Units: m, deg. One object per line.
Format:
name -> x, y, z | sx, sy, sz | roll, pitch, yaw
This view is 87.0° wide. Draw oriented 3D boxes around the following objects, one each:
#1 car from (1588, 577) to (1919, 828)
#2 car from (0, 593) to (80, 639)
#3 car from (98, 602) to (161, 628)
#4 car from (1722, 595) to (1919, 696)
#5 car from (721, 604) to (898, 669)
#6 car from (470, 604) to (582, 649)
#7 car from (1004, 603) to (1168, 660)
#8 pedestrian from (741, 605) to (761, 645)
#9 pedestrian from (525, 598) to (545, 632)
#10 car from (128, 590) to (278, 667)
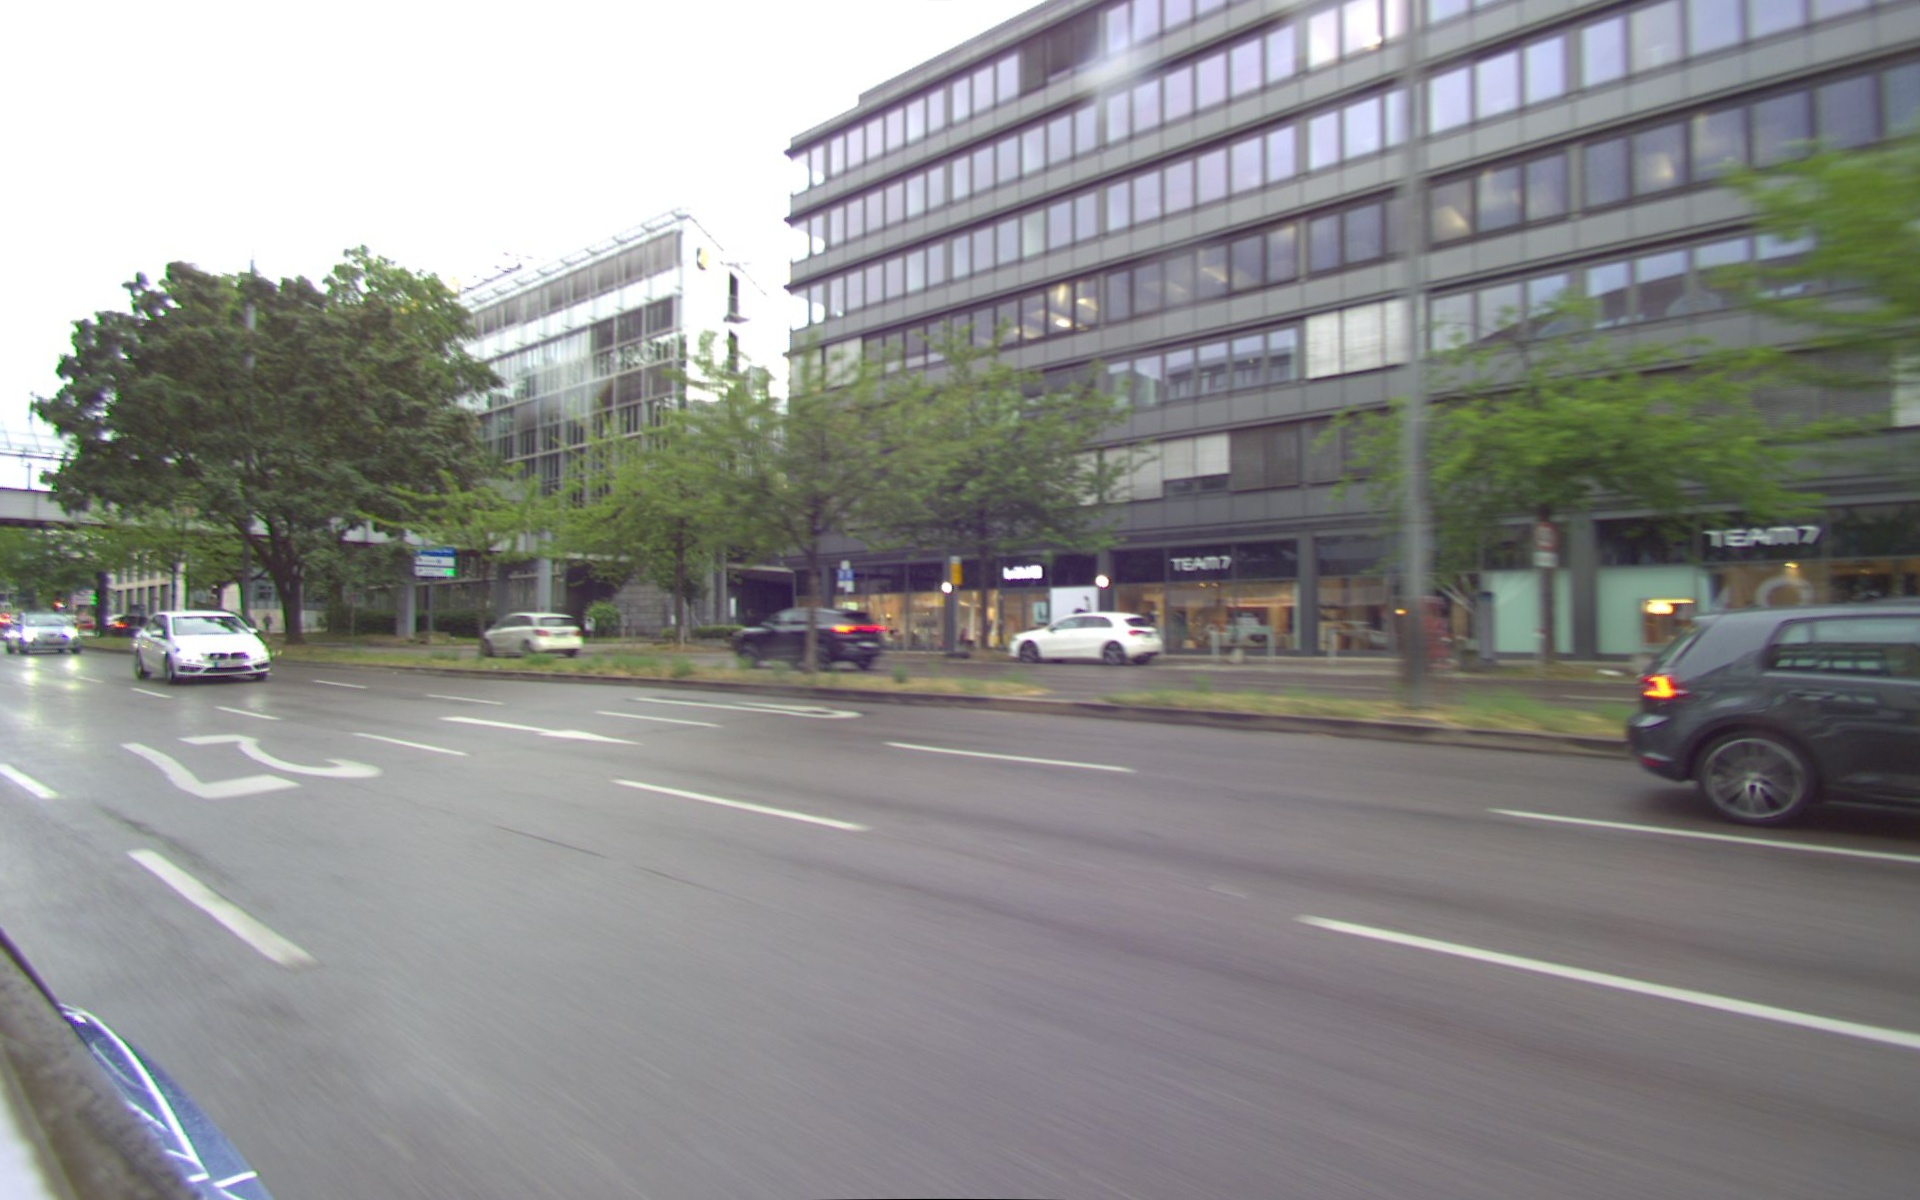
car -> 6.697, 0.599, 6.153 | 4.685, 1.462, 1.820 | -1, -1, 40
car -> -33.488, 0.565, 36.726 | 3.688, 1.585, 1.765 | 0, -1, 40
car -> -45.039, 0.800, 54.844 | 4.070, 1.320, 1.711 | 0, -1, 37
car -> 16.269, 0.754, 17.921 | 4.309, 1.673, 1.789 | 0, 0, 42
car -> -3.972, 0.894, 26.287 | 4.711, 1.528, 1.791 | 0, -1, 38
car -> -15.042, 0.867, 34.977 | 4.307, 1.445, 1.711 | 0, -1, 38
car -> 3.490, 0.835, 28.407 | 4.303, 1.455, 1.792 | 0, 0, 37
pedestrian -> -9.582, 1.156, 46.476 | 0.754, 1.830, 0.729 | 0, -1, 2
pedestrian -> -23.745, 0.842, 56.553 | 0.924, 1.846, 0.720 | 1, 0, 40
car -> -17.186, 0.594, 22.912 | 4.284, 1.585, 1.765 | 0, -1, 40
